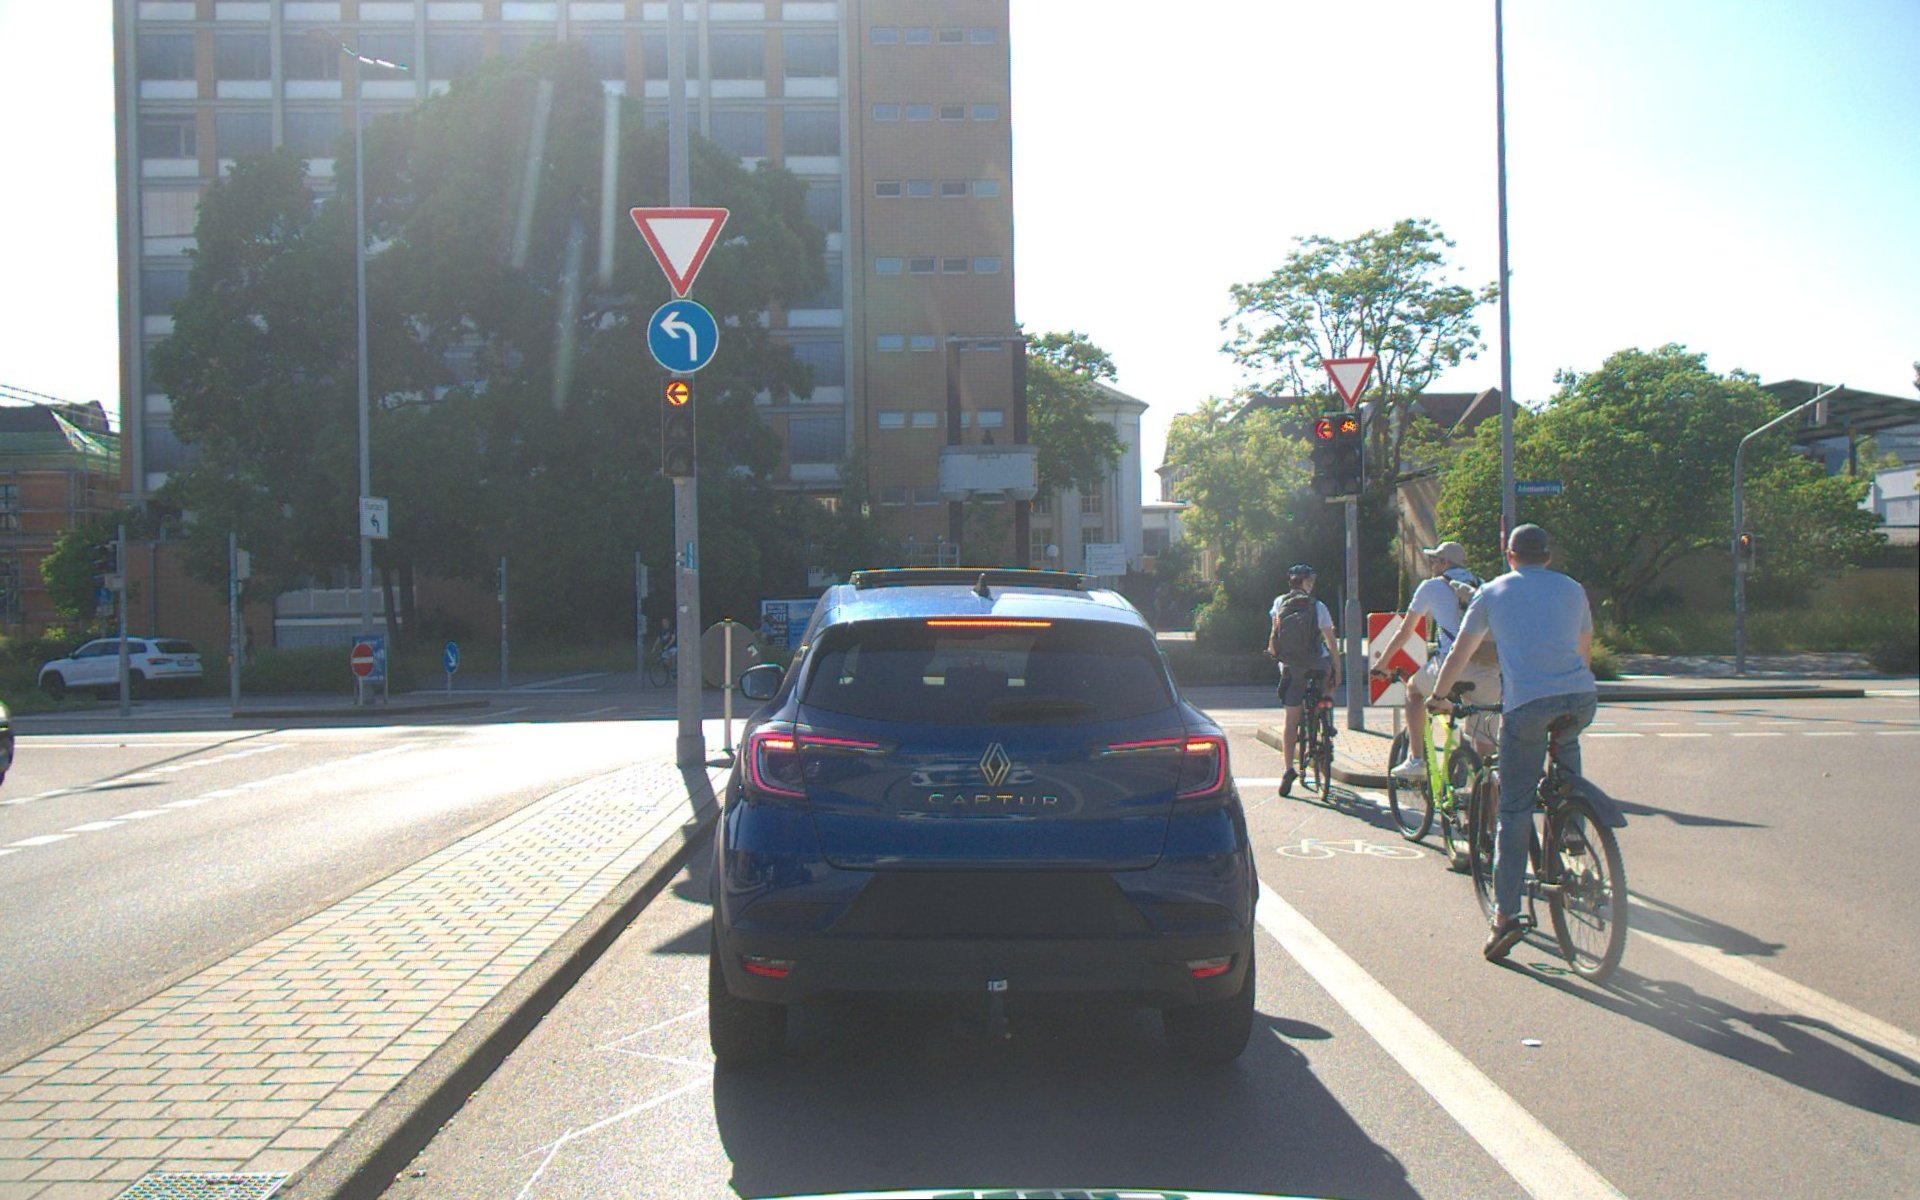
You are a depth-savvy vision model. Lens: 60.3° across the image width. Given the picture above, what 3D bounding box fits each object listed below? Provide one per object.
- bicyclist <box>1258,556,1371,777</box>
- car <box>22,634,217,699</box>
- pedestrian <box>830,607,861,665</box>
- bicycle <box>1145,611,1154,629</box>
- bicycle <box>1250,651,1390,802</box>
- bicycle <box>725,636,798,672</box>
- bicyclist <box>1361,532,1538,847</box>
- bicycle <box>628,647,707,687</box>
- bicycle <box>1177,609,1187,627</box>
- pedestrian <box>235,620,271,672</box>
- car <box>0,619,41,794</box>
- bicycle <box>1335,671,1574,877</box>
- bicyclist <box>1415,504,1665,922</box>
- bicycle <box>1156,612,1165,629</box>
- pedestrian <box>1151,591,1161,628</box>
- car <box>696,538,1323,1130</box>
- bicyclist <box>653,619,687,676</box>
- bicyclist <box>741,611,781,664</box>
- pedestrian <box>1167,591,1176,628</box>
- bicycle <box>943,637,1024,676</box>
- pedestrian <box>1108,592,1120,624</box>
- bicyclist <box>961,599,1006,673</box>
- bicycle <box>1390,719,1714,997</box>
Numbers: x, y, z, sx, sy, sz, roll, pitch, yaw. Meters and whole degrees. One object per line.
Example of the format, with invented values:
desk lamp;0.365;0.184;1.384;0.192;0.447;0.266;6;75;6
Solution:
bicyclist;2.766;0.501;12.981;0.711;1.657;0.969;1;0;3
car;-22.900;1.802;45.102;4.721;1.660;1.845;-1;0;15
pedestrian;-3.258;1.016;47.025;0.721;1.631;0.599;-1;0;12
bicycle;10.807;1.146;94.228;0.397;0.990;1.684;1;0;3
bicycle;2.767;0.936;12.930;0.723;1.012;2.174;1;0;3
bicycle;-5.562;1.518;46.347;2.035;0.981;0.598;-1;0;27
bicyclist;2.888;0.509;9.847;0.633;1.769;1.065;1;0;-6
bicycle;-7.711;1.765;43.626;1.982;0.981;0.593;-1;0;-28
bicycle;12.693;1.033;94.595;0.397;0.990;1.684;1;0;3
pedestrian;-22.640;1.459;52.960;0.842;1.598;0.559;-4;0;22
car;-10.570;1.054;15.859;4.704;1.531;1.807;-3;0;45
bicycle;2.877;0.978;9.851;0.646;1.020;1.967;1;0;-6
bicyclist;2.514;0.464;7.277;0.736;1.698;1.016;1;0;0
bicycle;11.417;1.156;94.194;0.397;0.990;1.684;1;0;3
pedestrian;10.809;0.516;91.201;0.465;2.049;0.523;-1;0;5
car;0.067;0.668;6.688;1.767;1.660;3.998;1;0;-3
bicyclist;-7.663;1.241;43.653;0.728;1.466;0.593;-1;0;-27
bicyclist;-5.569;1.056;46.353;0.918;1.454;0.598;-1;0;26
pedestrian;11.840;0.540;92.568;0.465;2.049;0.468;-1;0;5
bicycle;0.625;1.490;43.951;2.037;0.946;0.697;-2;1;11
pedestrian;9.052;0.461;96.998;0.611;1.888;0.563;-1;0;1
bicyclist;0.628;0.944;43.645;1.078;1.900;0.653;-1;0;10
bicycle;2.508;1.052;7.280;0.725;0.911;1.978;1;0;0
